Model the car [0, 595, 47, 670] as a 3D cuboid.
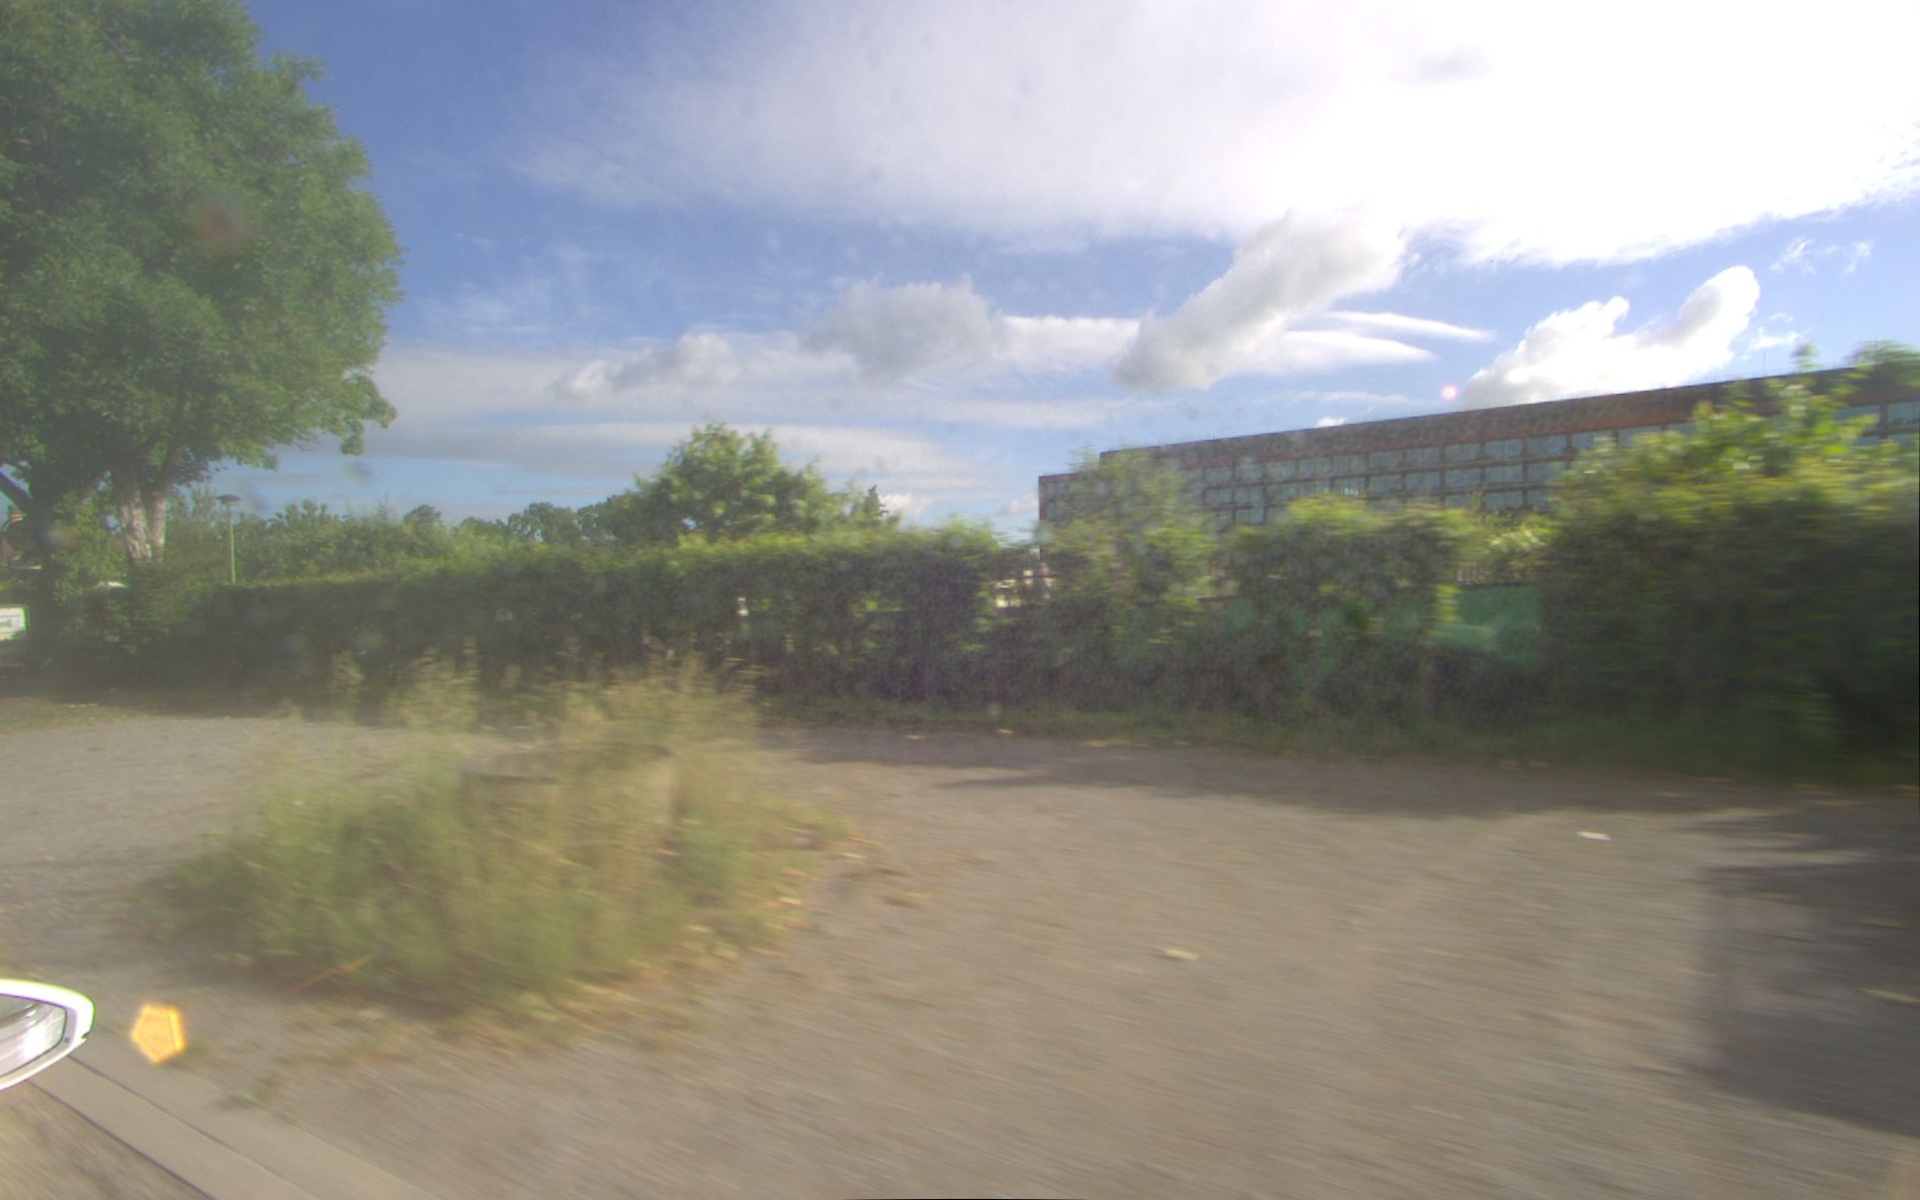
[{"bbox_3d":[-23.098,0.739,23.992,4.065,1.655,1.343,0,3,42],"label":"car"}]
